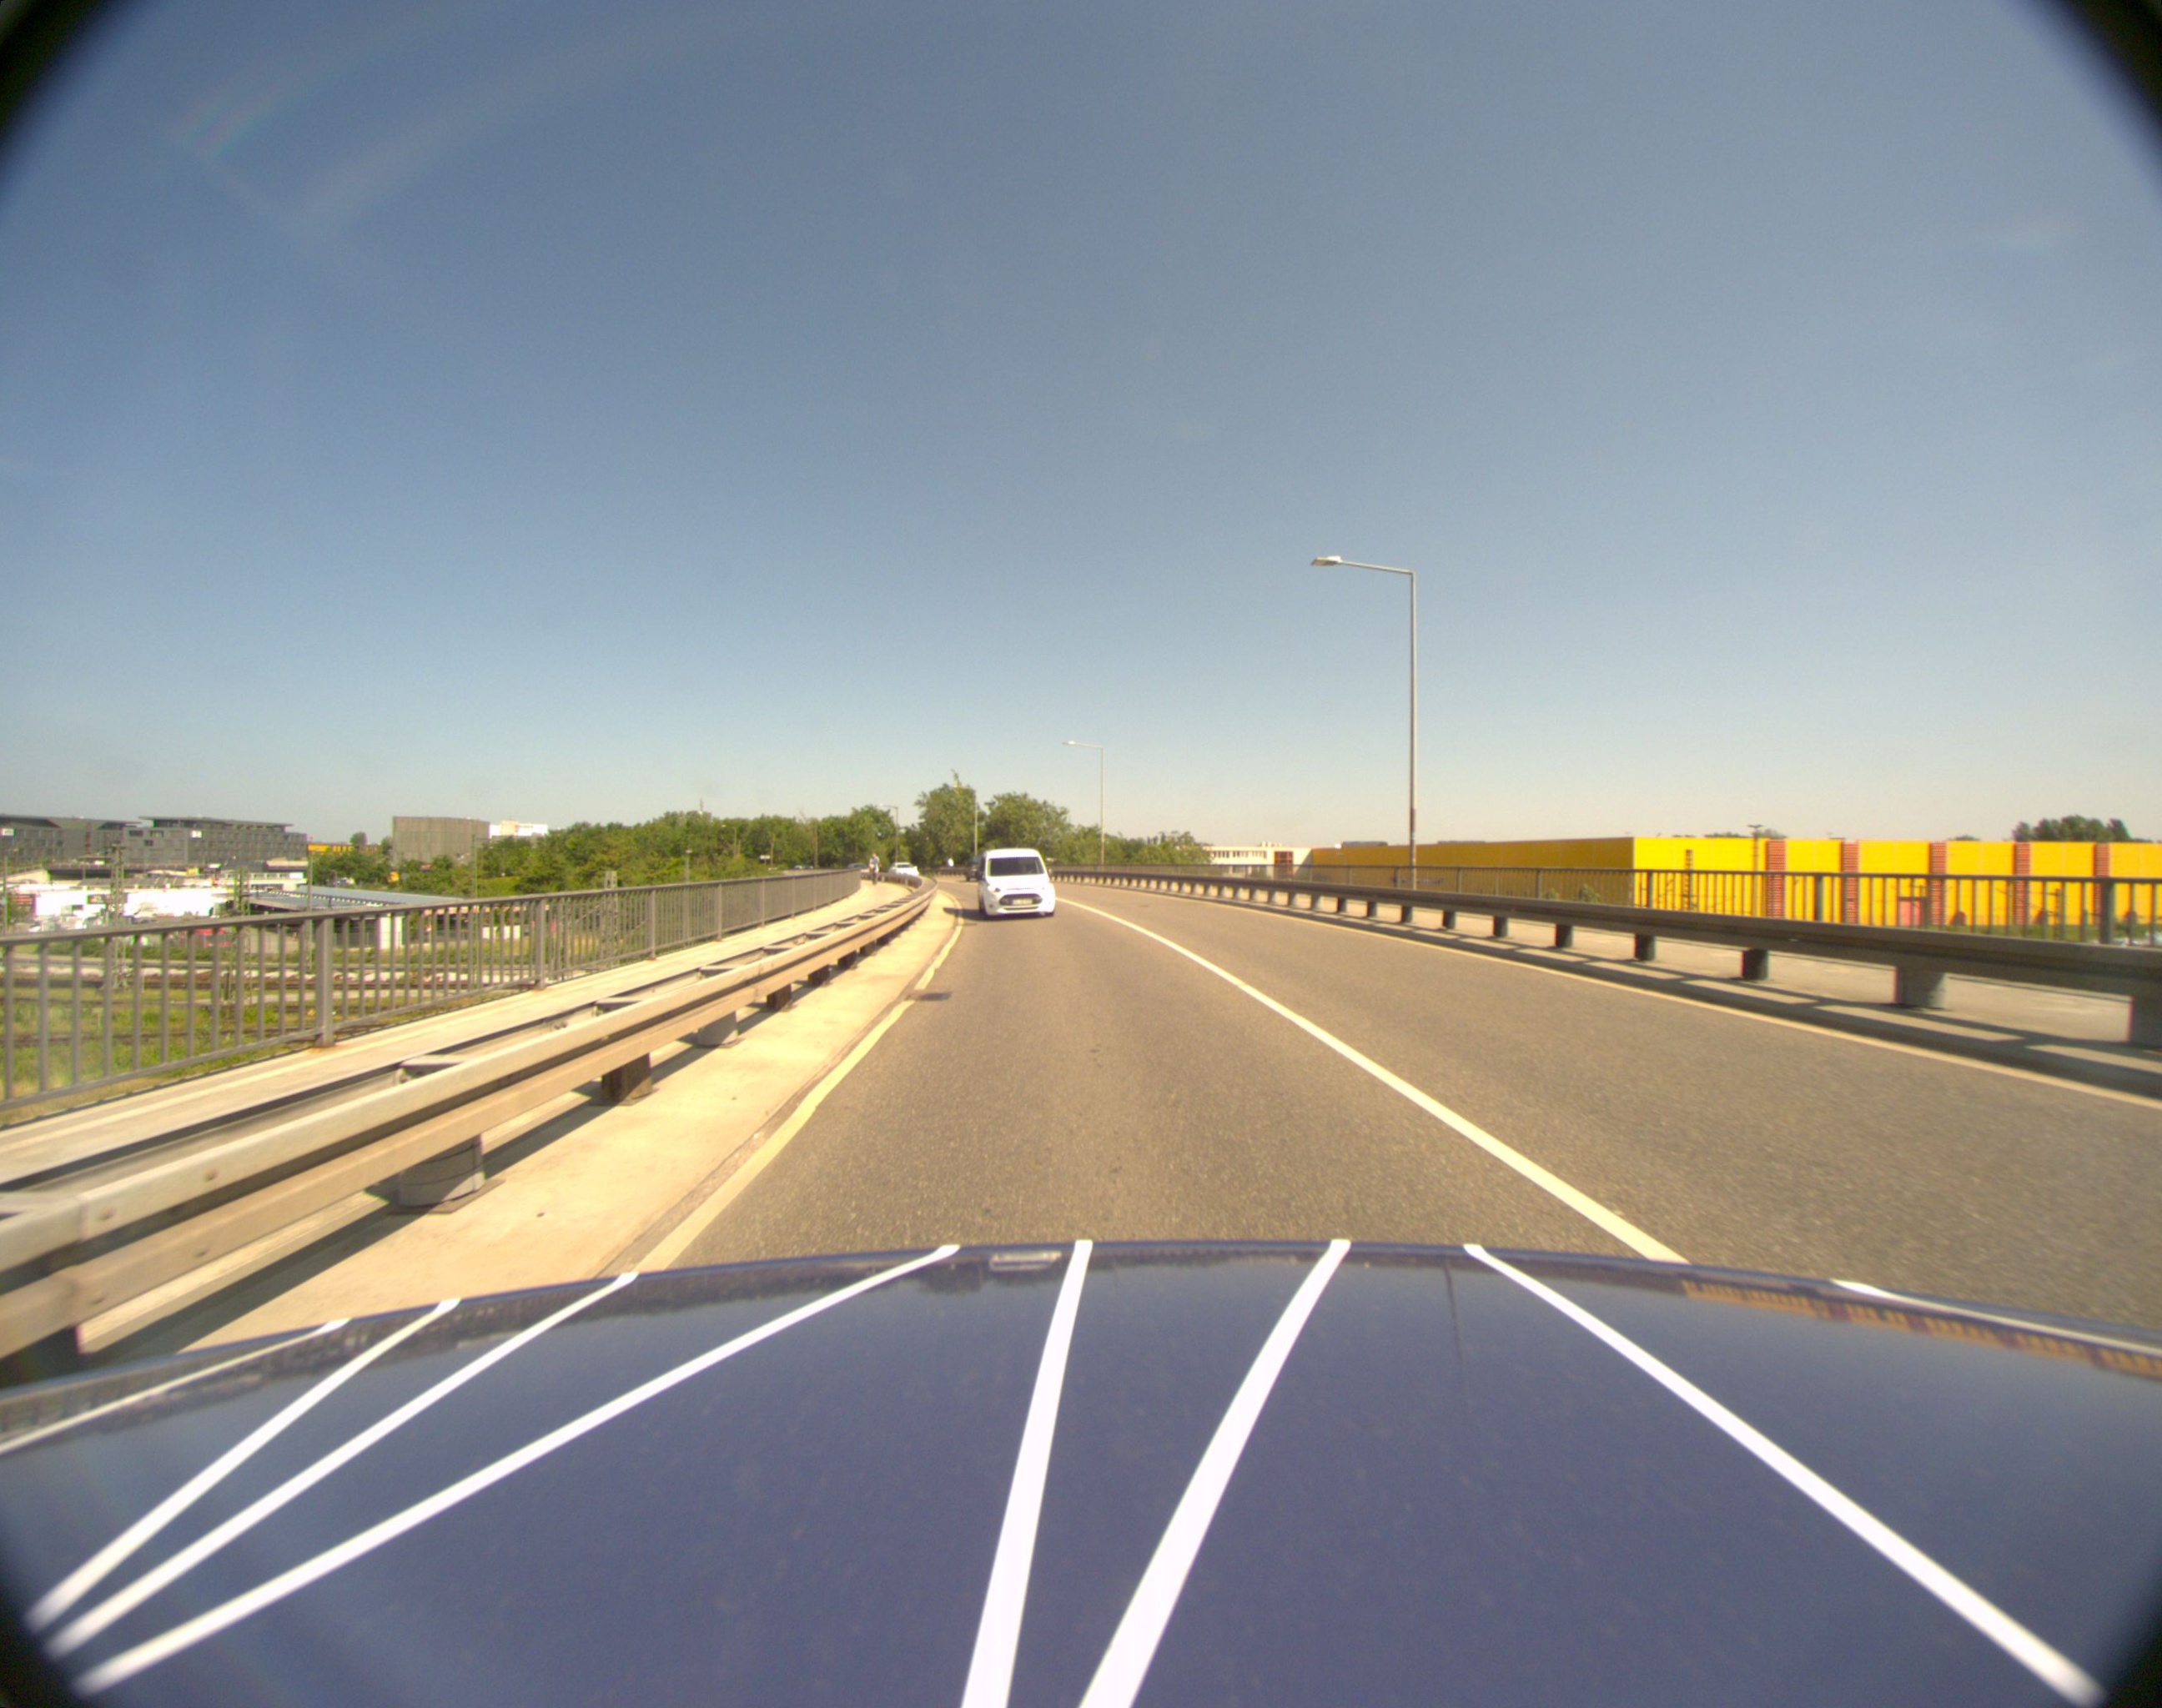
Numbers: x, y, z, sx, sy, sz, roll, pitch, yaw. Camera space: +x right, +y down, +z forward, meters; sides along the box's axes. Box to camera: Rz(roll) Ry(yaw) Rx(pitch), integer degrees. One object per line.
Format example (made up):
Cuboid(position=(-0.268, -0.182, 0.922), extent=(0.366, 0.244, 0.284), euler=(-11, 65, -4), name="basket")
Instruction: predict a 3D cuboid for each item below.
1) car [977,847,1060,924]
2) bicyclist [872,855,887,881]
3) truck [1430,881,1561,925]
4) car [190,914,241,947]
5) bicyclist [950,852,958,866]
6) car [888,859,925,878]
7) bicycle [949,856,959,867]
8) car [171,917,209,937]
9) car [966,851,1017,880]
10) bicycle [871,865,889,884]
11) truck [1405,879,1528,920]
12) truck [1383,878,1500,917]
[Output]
Cuboid(position=(-1.811, 0.768, 20.754), extent=(1.898, 1.785, 4.444), euler=(-2, 0, -9), name="car")
Cuboid(position=(-11.513, 0.804, 43.378), extent=(0.661, 1.510, 0.801), euler=(1, -1, -23), name="bicyclist")
Cuboid(position=(62.668, 7.238, 115.031), extent=(17.549, 5.644, 5.970), euler=(-1, 1, -10), name="truck")
Cuboid(position=(-87.733, 7.691, 77.024), extent=(5.363, 2.650, 2.311), euler=(0, 6, 32), name="car")
Cuboid(position=(-12.856, 0.503, 76.857), extent=(0.611, 1.430, 1.076), euler=(1, 0, -22), name="bicyclist")
Cuboid(position=(-14.285, 1.189, 62.106), extent=(1.850, 1.479, 4.142), euler=(-2, 0, -29), name="car")
Cuboid(position=(-12.826, 0.784, 76.767), extent=(0.614, 1.128, 2.145), euler=(2, -1, -21), name="bicycle")
Cuboid(position=(-98.341, 8.014, 83.846), extent=(3.989, 1.861, 2.002), euler=(-2, 5, 32), name="car")
Cuboid(position=(-6.433, 0.820, 53.975), extent=(2.084, 1.877, 5.905), euler=(-2, -1, -22), name="car")
Cuboid(position=(-11.488, 1.177, 43.344), extent=(0.705, 1.013, 1.843), euler=(2, -2, -22), name="bicycle")
Cuboid(position=(61.449, 7.152, 121.357), extent=(17.549, 5.644, 5.783), euler=(-1, 1, -10), name="truck")
Cuboid(position=(60.506, 7.169, 127.655), extent=(17.549, 5.644, 5.970), euler=(-1, 1, -10), name="truck")
